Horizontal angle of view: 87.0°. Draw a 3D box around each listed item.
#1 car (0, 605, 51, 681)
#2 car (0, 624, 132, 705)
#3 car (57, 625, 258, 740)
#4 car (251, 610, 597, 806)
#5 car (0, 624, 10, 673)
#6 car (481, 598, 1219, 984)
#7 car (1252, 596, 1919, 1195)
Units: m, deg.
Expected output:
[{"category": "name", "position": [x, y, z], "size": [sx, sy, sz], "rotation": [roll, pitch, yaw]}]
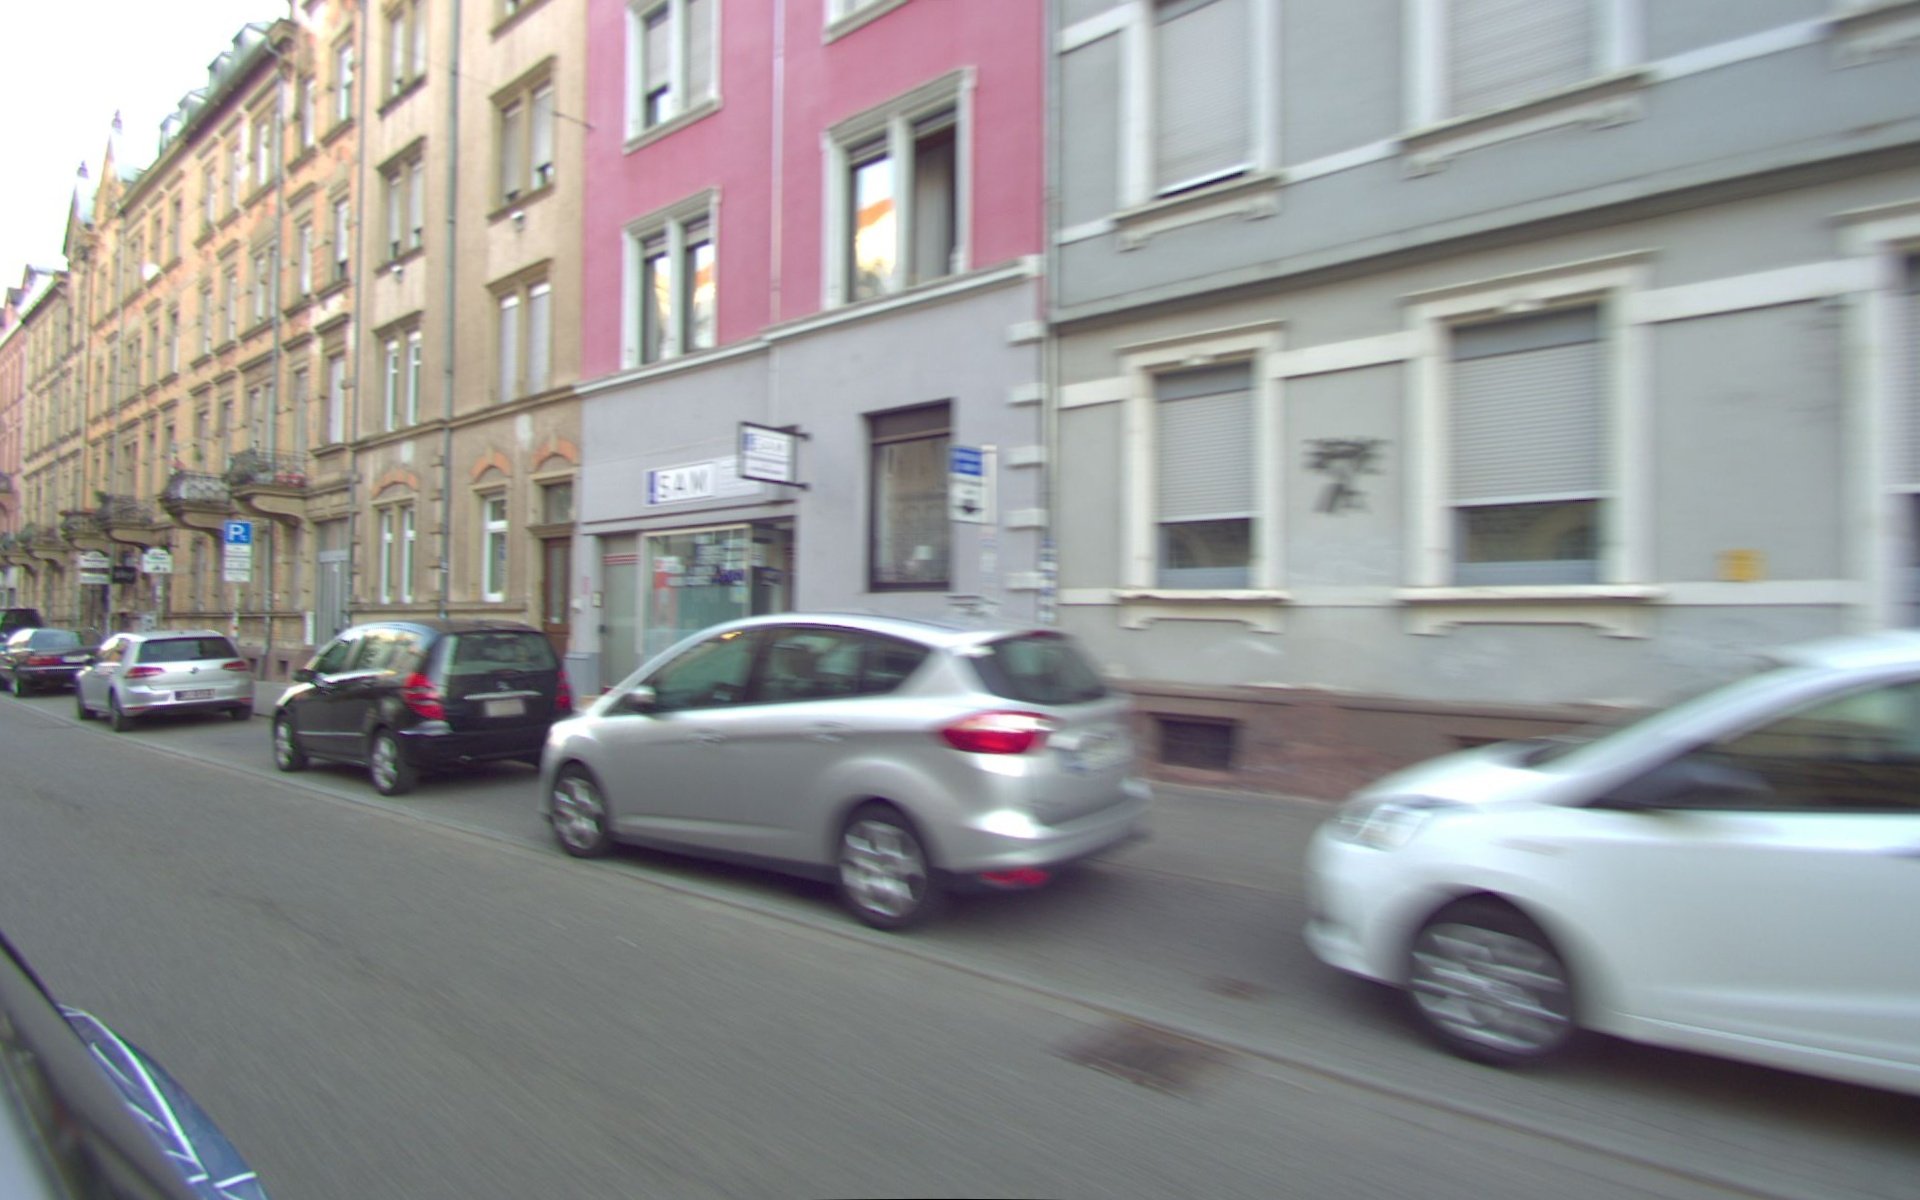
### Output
[{"category": "car", "position": [-27.223, 1.206, 28.351], "size": [4.286, 1.975, 1.851], "rotation": [-2, 0, 38]}, {"category": "car", "position": [-19.883, 1.342, 22.231], "size": [4.275, 1.486, 1.736], "rotation": [-1, 3, 39]}, {"category": "car", "position": [-13.006, 1.222, 16.322], "size": [4.055, 1.486, 1.736], "rotation": [-1, 3, 41]}, {"category": "car", "position": [-5.646, 0.948, 10.460], "size": [4.053, 1.605, 1.736], "rotation": [-1, 0, 40]}, {"category": "car", "position": [-31.286, 1.580, 31.510], "size": [4.050, 1.486, 1.738], "rotation": [-2, 3, 37]}, {"category": "car", "position": [-0.948, 0.842, 6.392], "size": [4.665, 1.605, 1.816], "rotation": [-1, 0, 37]}, {"category": "car", "position": [3.189, 0.787, 3.308], "size": [3.924, 1.588, 1.735], "rotation": [-1, 0, 40]}]
